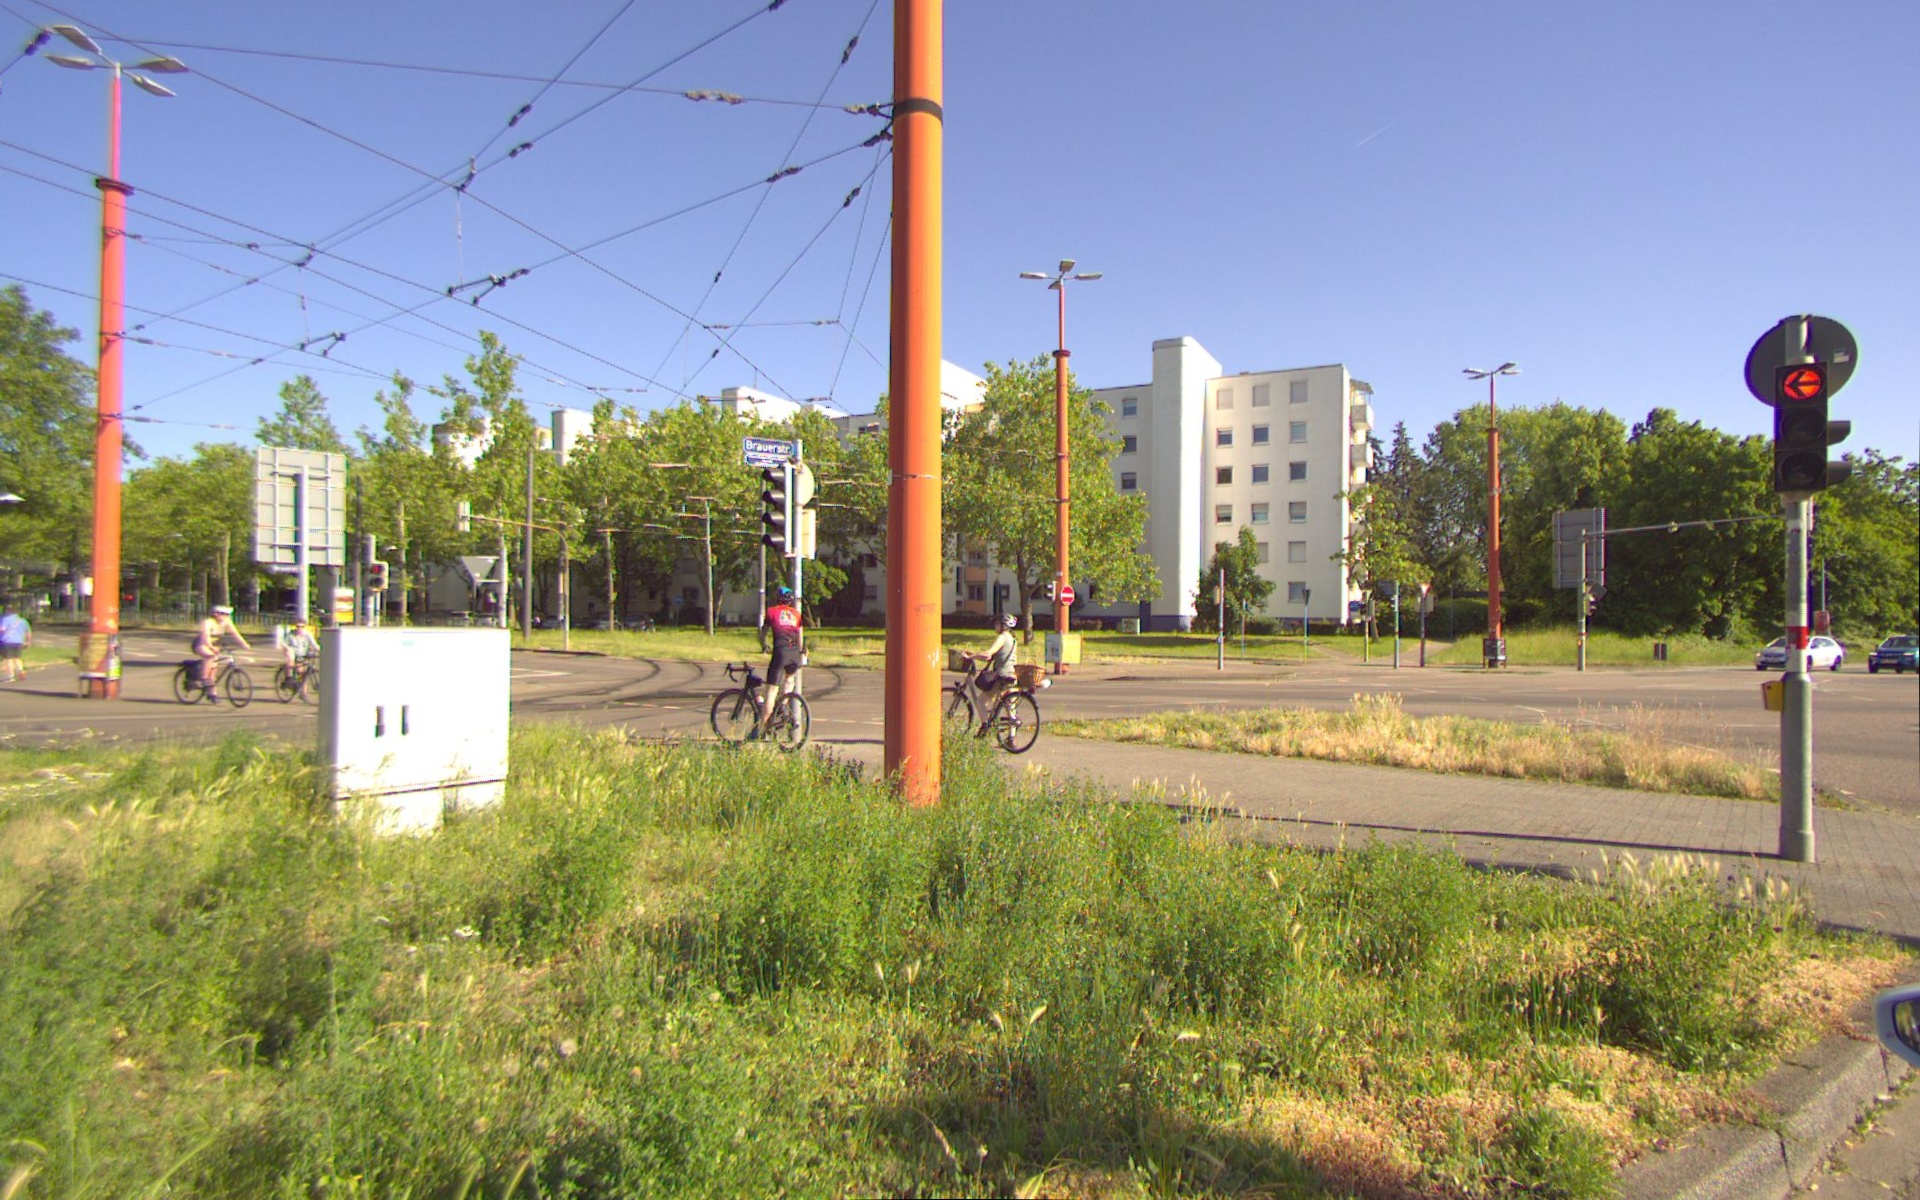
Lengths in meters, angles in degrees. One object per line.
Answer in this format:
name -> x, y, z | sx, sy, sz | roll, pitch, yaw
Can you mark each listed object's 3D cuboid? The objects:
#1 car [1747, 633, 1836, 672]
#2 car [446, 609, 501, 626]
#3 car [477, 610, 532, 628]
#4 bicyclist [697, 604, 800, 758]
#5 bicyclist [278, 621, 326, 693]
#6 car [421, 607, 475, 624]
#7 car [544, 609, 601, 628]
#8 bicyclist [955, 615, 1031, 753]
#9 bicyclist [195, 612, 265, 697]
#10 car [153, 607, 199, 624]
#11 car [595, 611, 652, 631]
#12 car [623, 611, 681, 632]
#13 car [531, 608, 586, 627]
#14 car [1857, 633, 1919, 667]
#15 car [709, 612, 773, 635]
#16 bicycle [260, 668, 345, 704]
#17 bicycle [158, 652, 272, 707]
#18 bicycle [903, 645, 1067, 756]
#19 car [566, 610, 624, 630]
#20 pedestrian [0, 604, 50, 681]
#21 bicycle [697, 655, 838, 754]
car -> 35.155, 2.175, 42.446 | 3.891, 1.552, 1.752 | 1, -1, -31
car -> -41.426, 1.495, 85.628 | 3.935, 1.428, 1.794 | 1, -1, -17
car -> -38.023, 1.576, 83.886 | 3.935, 1.428, 1.794 | 1, -1, -17
bicyclist -> -2.549, 0.941, 12.118 | 0.981, 1.764, 0.734 | 0, -1, 37
bicyclist -> -13.047, 1.127, 19.927 | 0.616, 1.399, 0.443 | 1, -1, -1
car -> -44.781, 1.397, 87.898 | 3.935, 1.428, 1.794 | 1, -1, -17
car -> -30.068, 1.426, 78.077 | 3.934, 1.428, 1.794 | 1, -1, -16
bicyclist -> 0.403, 0.988, 12.173 | 0.651, 1.605, 0.671 | 0, -1, 33
bicyclist -> -13.740, 1.017, 18.929 | 0.752, 1.565, 0.732 | 1, -1, -1
car -> -93.980, 1.897, 120.458 | 1.969, 2.040, 3.984 | 0, -1, 38
car -> -24.987, 1.564, 74.699 | 3.934, 1.428, 1.794 | 1, -1, -16
car -> -22.247, 1.555, 72.648 | 3.934, 1.428, 1.794 | 1, -1, -16
car -> -31.929, 1.377, 79.974 | 3.935, 1.428, 1.794 | 1, -1, -17
car -> 37.165, 1.962, 39.624 | 3.571, 1.260, 1.730 | 1, -1, -31
car -> -14.533, 1.557, 66.845 | 1.770, 1.428, 3.987 | 0, -1, 35
bicycle -> -13.035, 1.697, 19.927 | 1.393, 0.668, 0.435 | 1, -1, 1
bicycle -> -13.974, 1.485, 18.873 | 1.612, 0.974, 0.685 | 1, -1, -1
bicycle -> 0.285, 1.180, 12.260 | 1.915, 1.210, 0.690 | 0, -1, 33
car -> -27.569, 1.493, 75.923 | 3.934, 1.428, 1.794 | 1, -1, -16
pedestrian -> -22.737, 1.006, 24.064 | 0.968, 1.817, 0.955 | 1, -1, 3
bicycle -> -2.387, 1.242, 12.348 | 1.804, 1.071, 0.719 | 0, -1, 40
